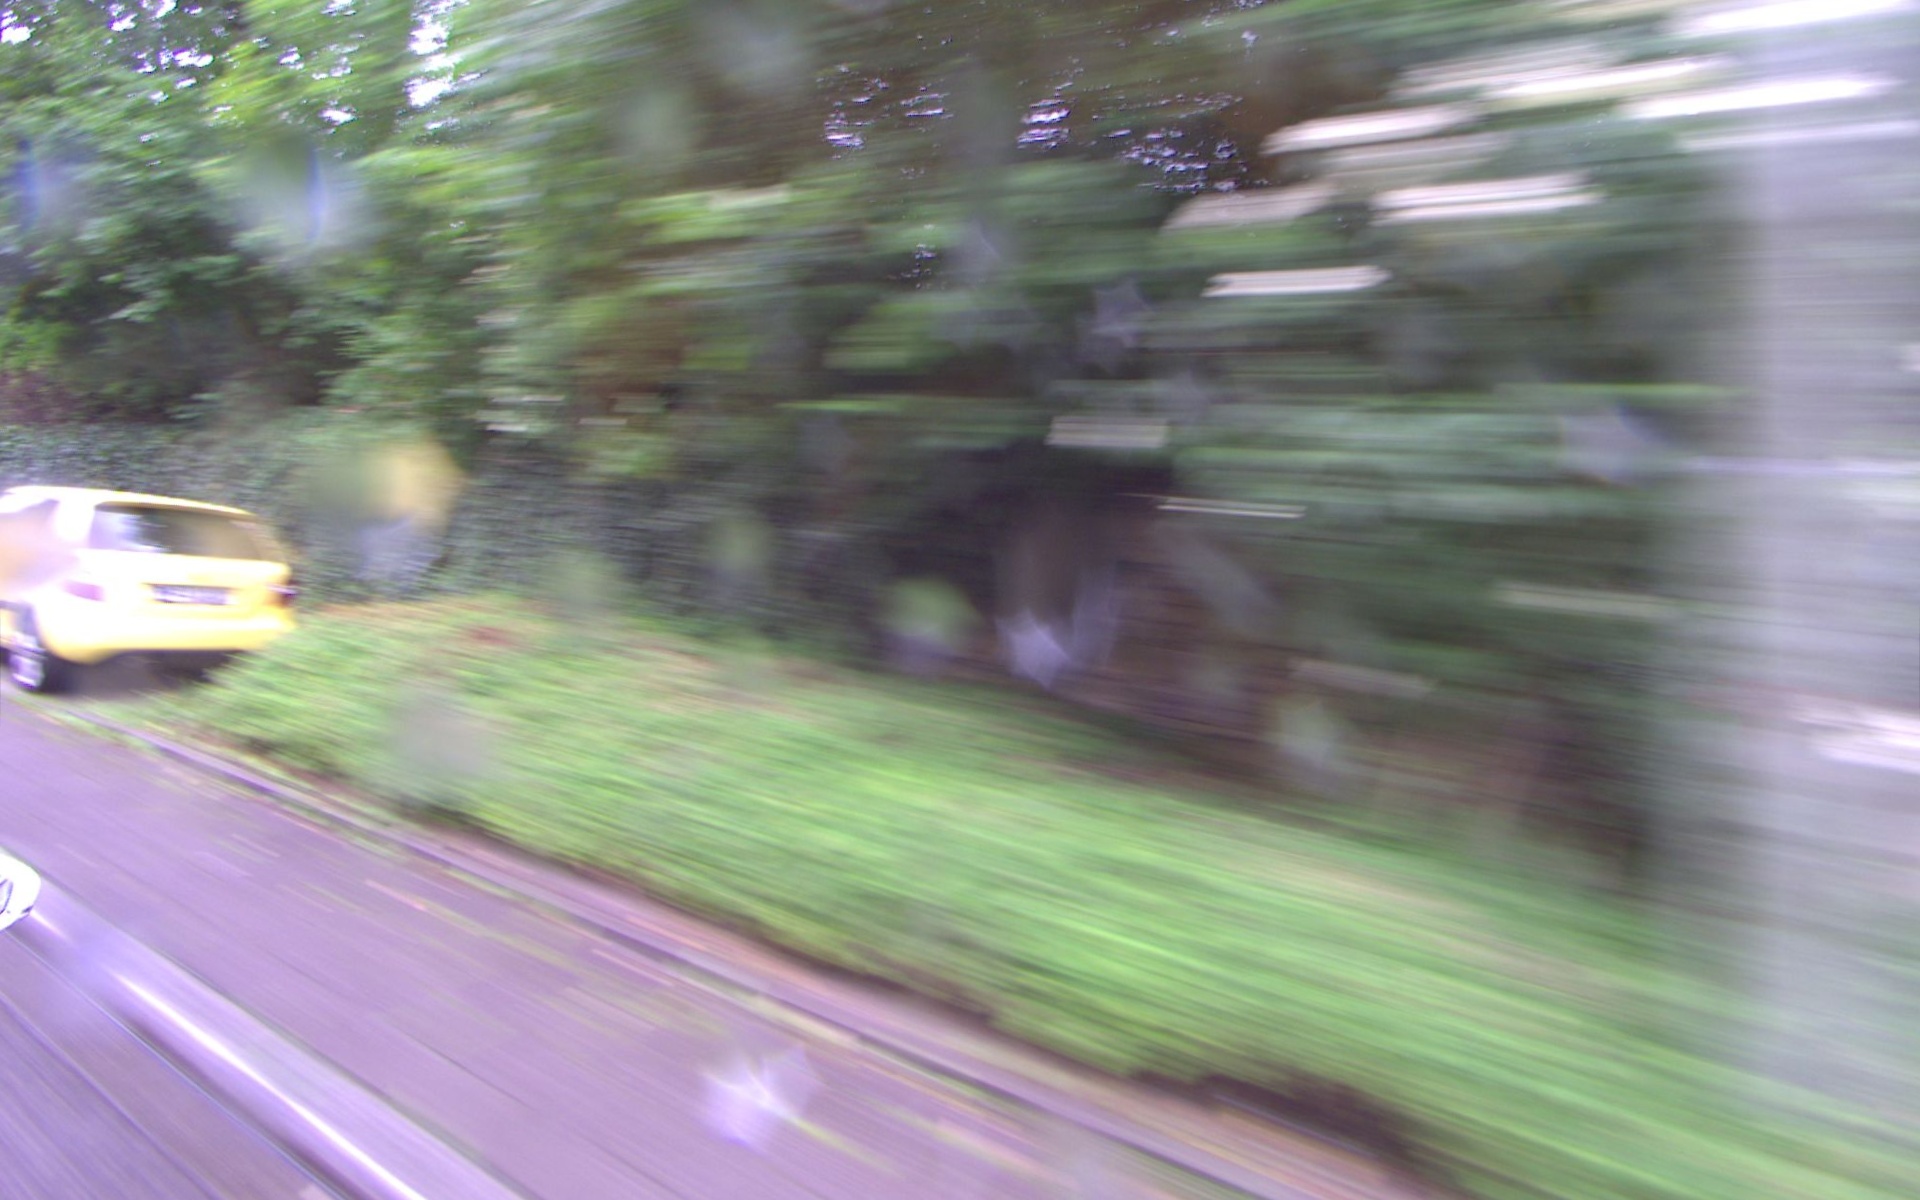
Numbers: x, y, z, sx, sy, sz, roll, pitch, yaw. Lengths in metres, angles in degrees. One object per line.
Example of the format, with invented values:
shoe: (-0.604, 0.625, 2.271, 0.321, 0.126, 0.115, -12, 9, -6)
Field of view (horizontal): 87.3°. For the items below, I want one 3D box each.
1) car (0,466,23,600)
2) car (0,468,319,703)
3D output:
car: (-13.369, -0.994, 12.190, 4.344, 1.550, 1.811, 6, 2, 31)
car: (-7.363, -0.193, 8.550, 3.935, 1.548, 1.635, 6, -1, 33)
